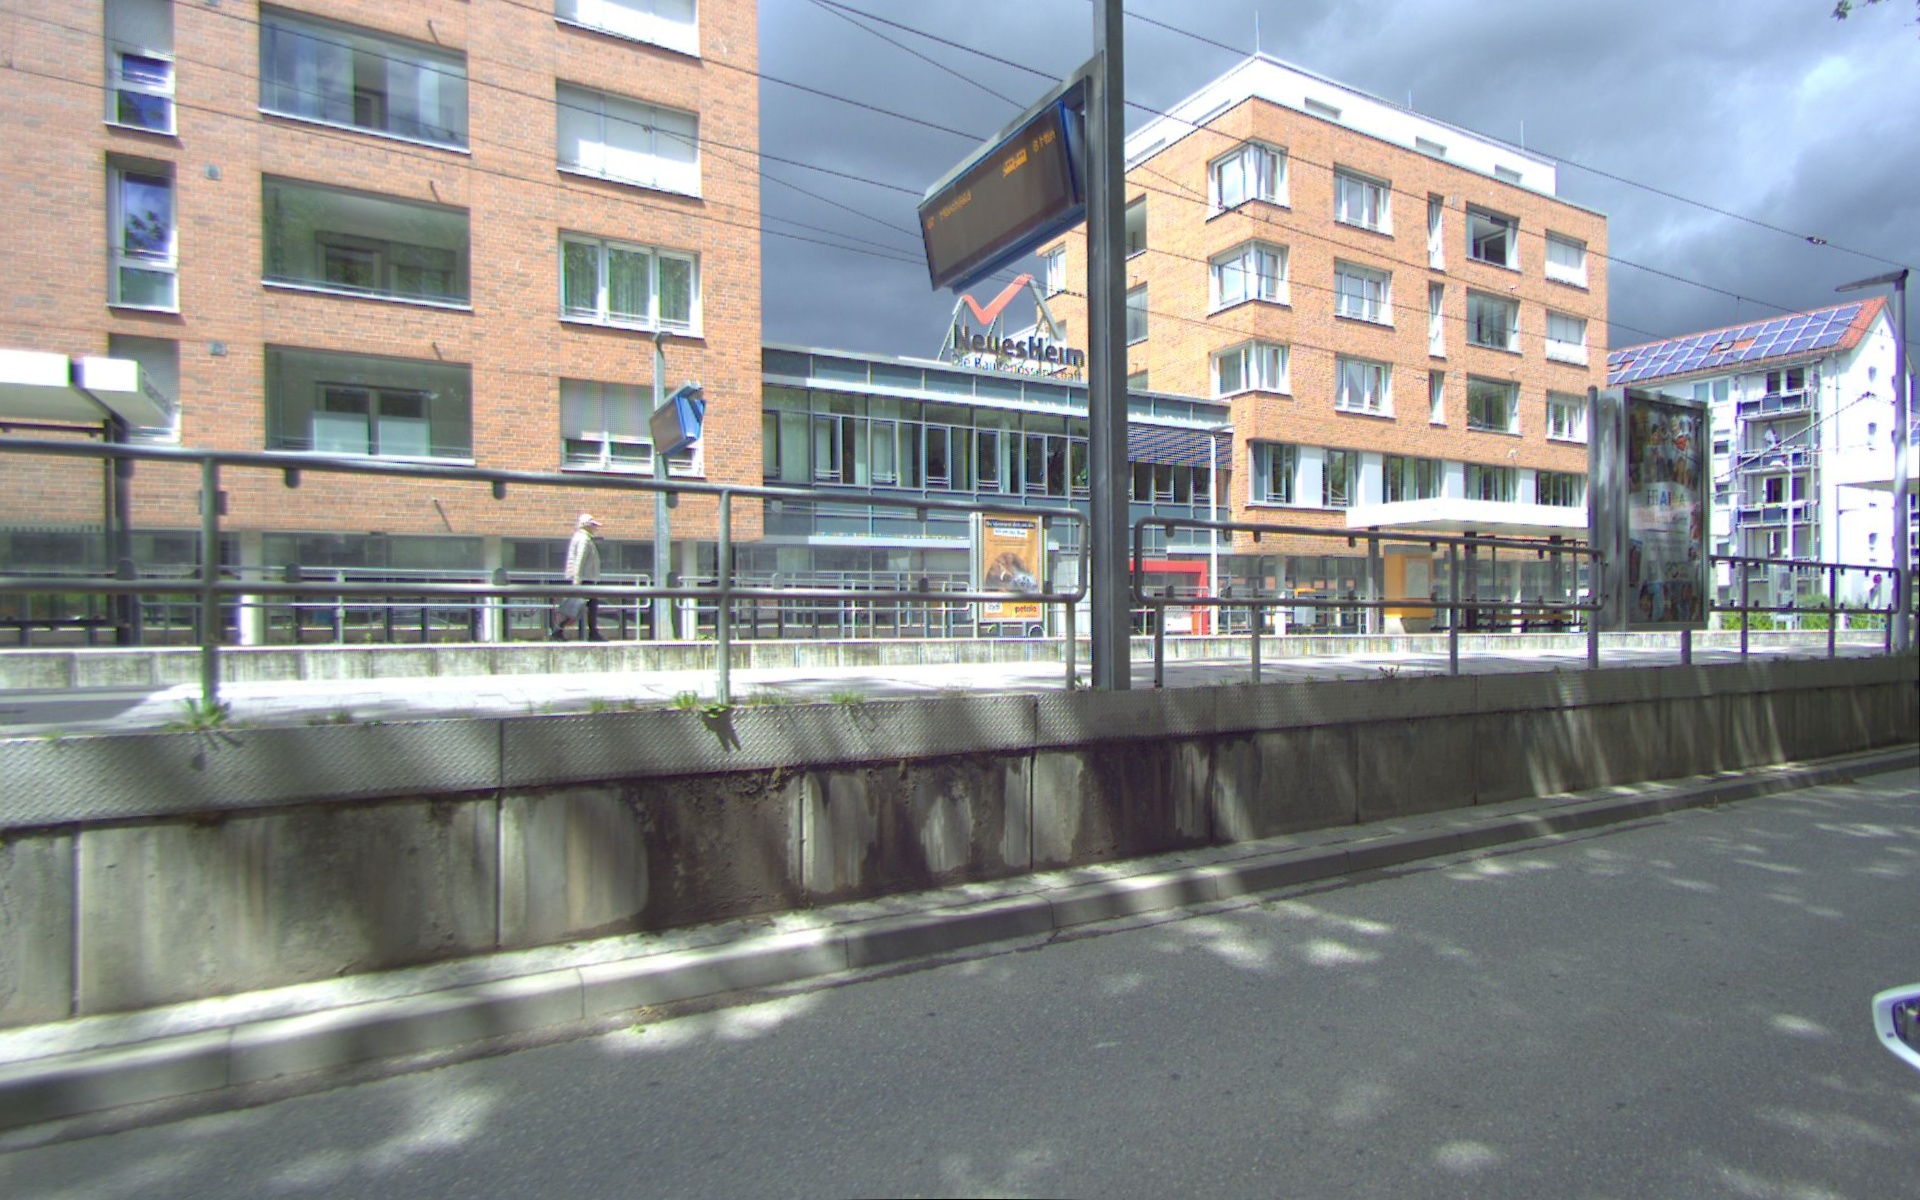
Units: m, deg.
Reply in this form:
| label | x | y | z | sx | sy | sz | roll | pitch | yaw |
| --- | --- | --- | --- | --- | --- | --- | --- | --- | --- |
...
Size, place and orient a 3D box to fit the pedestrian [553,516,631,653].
| label | x | y | z | sx | sy | sz | roll | pitch | yaw |
| --- | --- | --- | --- | --- | --- | --- | --- | --- | --- |
| pedestrian | -4.638 | -0.193 | 12.647 | 0.806 | 1.650 | 0.748 | 0 | 1 | -30 |
